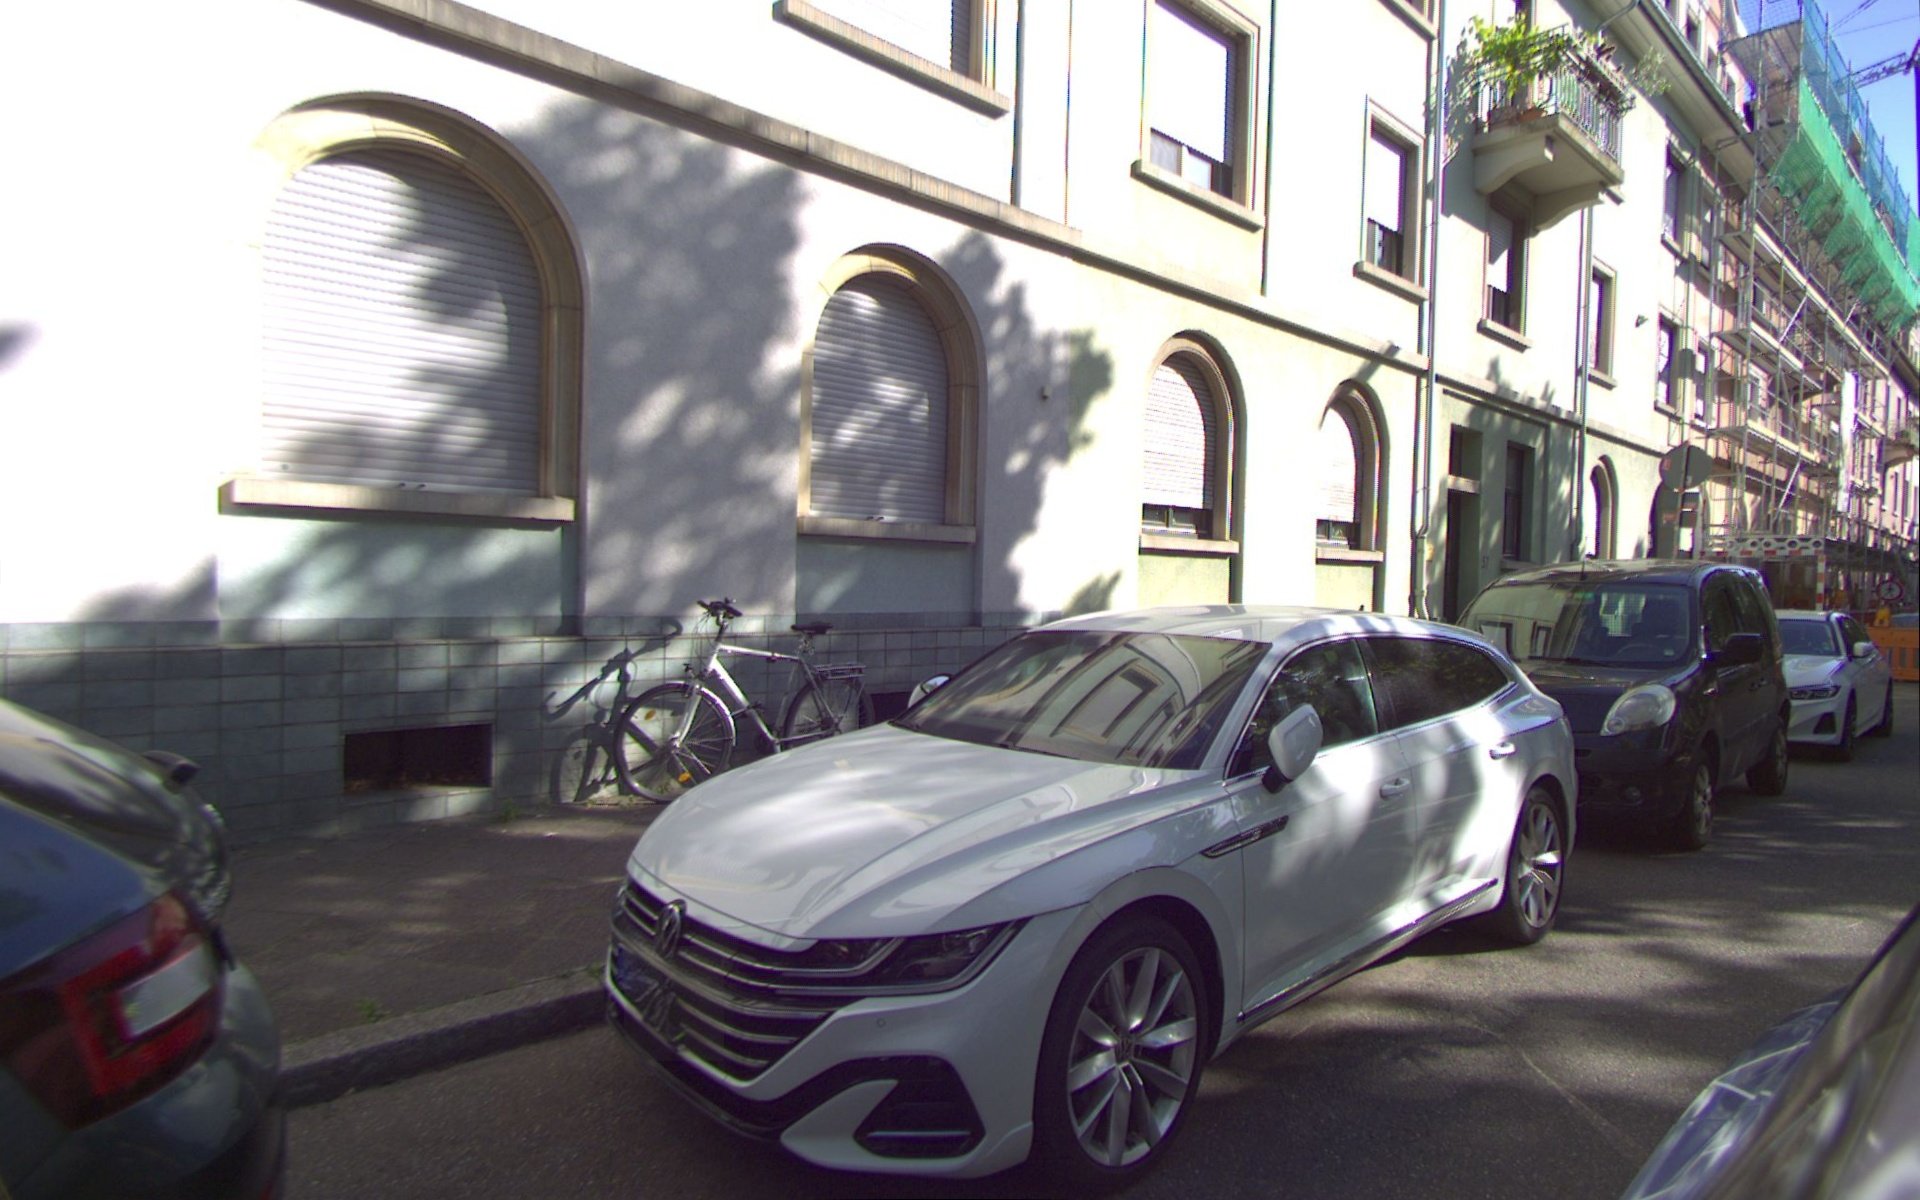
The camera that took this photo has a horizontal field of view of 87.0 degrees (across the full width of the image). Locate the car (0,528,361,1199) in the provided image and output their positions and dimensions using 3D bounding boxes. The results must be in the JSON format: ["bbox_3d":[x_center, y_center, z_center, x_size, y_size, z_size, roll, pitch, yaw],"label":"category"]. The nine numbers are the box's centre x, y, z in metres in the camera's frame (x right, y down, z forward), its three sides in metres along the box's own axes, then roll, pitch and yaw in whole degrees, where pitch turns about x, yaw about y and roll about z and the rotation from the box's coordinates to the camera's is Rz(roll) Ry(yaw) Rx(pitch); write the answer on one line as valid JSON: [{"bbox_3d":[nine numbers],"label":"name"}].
[{"bbox_3d":[-2.838,0.651,0.723,3.901,1.511,1.601,0,2,-44],"label":"car"}]

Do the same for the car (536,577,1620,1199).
[{"bbox_3d":[0.933,0.651,3.916,4.490,1.437,1.609,-1,2,-42],"label":"car"}]

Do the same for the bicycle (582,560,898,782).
[{"bbox_3d":[-1.279,0.374,6.235,1.949,1.196,0.395,0,1,-41],"label":"bicycle"}]

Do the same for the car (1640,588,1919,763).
[{"bbox_3d":[9.133,0.664,11.112,4.209,1.530,1.708,0,2,-41],"label":"car"}]

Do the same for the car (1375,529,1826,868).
[{"bbox_3d":[4.821,0.487,7.392,3.921,1.816,1.774,0,2,-42],"label":"car"}]
